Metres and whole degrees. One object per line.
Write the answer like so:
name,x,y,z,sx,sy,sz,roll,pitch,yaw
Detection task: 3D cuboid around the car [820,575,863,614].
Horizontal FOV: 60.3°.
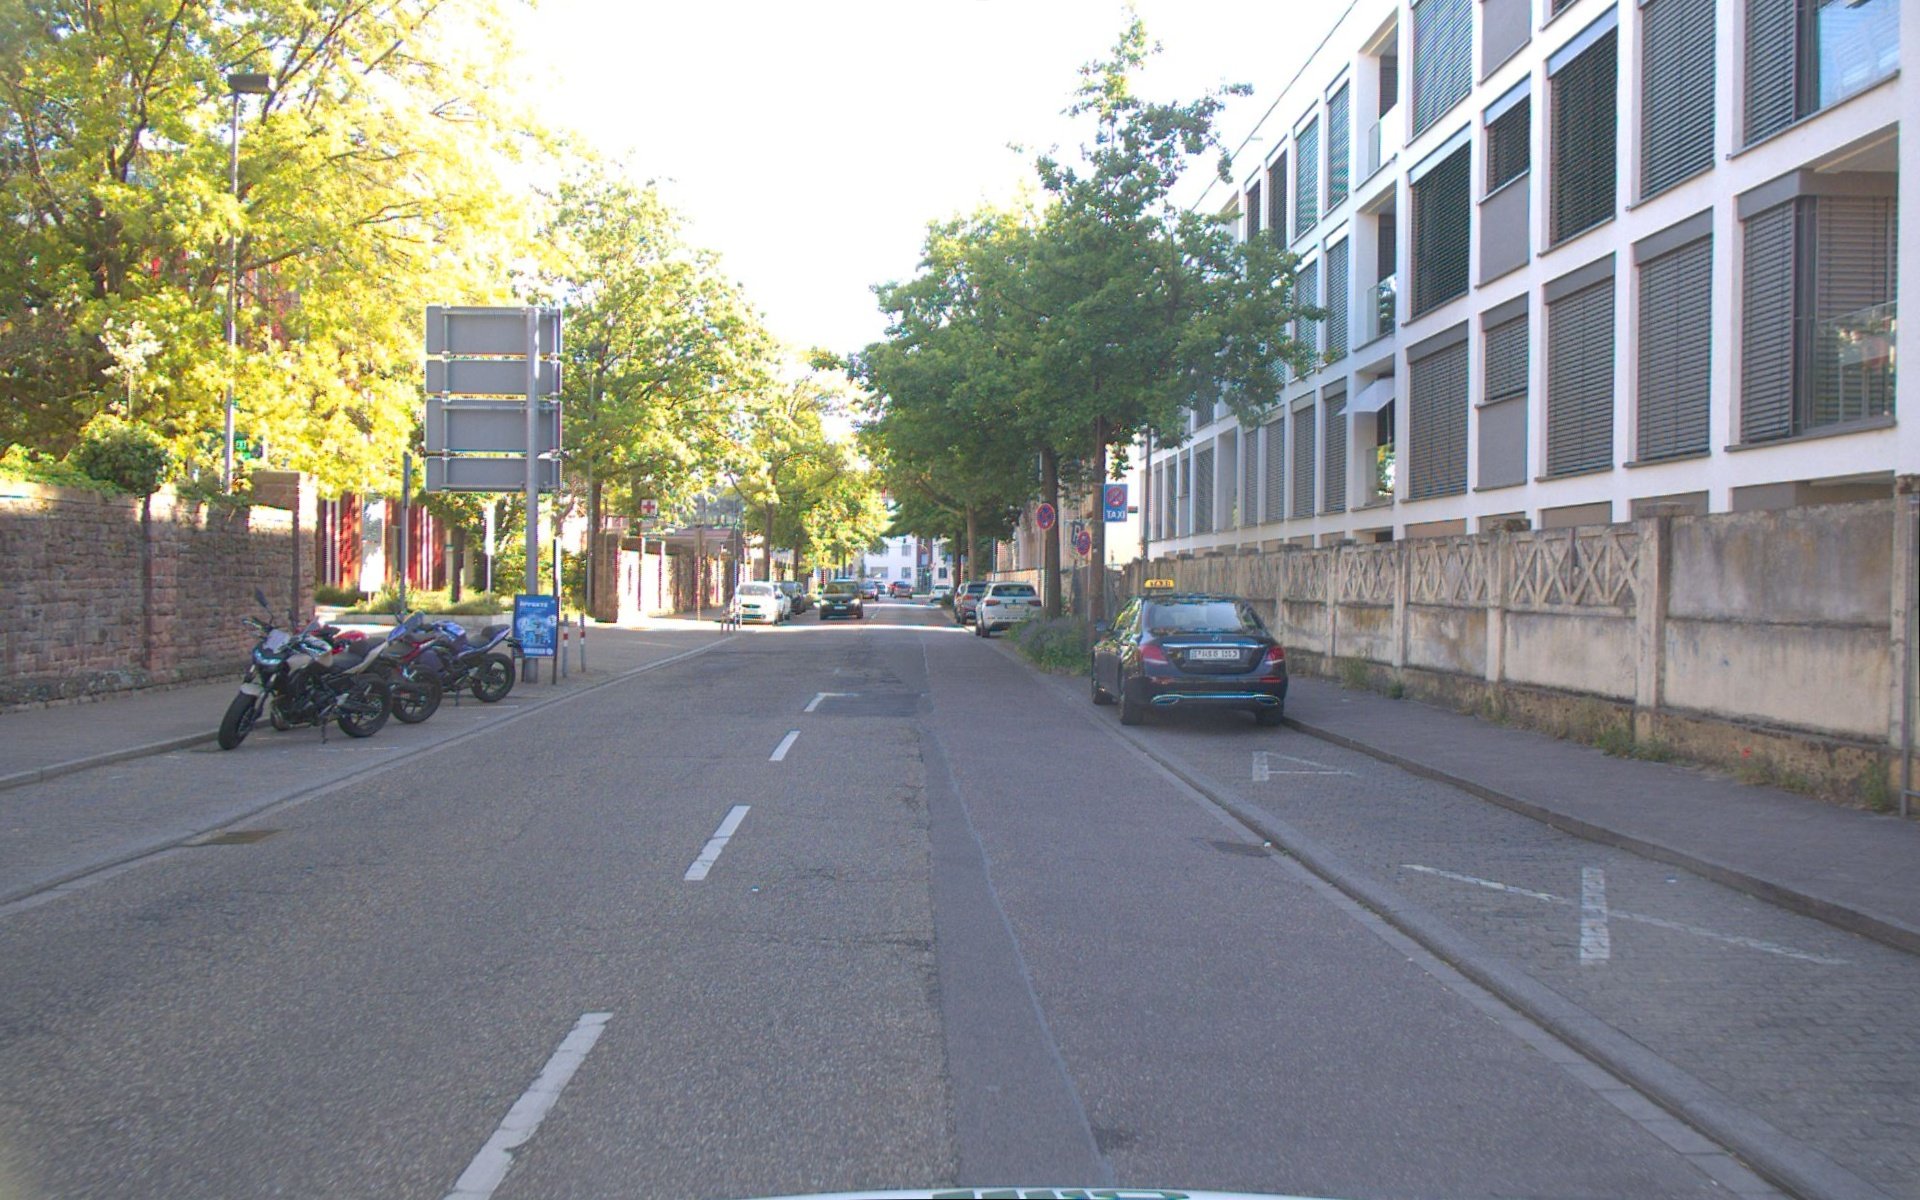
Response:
car,-4.915,-0.239,69.064,1.620,1.556,3.999,0,1,-2

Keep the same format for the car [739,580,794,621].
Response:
car,-7.683,0.001,65.932,1.868,1.556,3.999,0,1,-2

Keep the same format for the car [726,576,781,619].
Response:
car,-7.446,-0.106,59.931,1.732,1.513,3.998,0,1,-3

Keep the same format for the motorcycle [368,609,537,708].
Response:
motorcycle,-6.077,0.674,19.934,0.565,1.093,2.117,1,1,31

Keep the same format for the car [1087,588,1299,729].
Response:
car,2.618,0.600,19.476,1.732,1.465,3.998,0,1,-3

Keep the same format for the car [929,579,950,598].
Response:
car,-1.618,-0.881,129.163,1.553,1.424,3.835,1,1,-1

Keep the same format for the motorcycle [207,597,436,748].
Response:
motorcycle,-5.961,0.633,15.571,0.565,1.298,2.117,1,1,31

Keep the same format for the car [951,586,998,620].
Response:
car,0.635,0.113,73.549,1.953,1.450,3.835,1,1,-1

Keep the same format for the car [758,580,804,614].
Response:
car,-8.406,-0.161,78.081,1.868,1.556,3.999,0,1,-2

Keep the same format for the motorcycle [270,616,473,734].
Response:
motorcycle,-6.039,0.736,17.108,0.565,1.093,2.117,1,1,31

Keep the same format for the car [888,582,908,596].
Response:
car,-6.521,-1.165,174.483,1.954,1.478,3.996,0,1,-5

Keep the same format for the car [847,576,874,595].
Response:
car,-7.846,-1.170,131.154,1.953,1.478,4.000,0,1,-1

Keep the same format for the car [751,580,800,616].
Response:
car,-8.227,-0.108,73.945,1.868,1.556,3.999,0,1,-2

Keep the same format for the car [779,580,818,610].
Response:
car,-8.897,-0.304,91.131,1.869,1.556,3.999,1,1,-2

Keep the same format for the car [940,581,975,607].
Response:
car,-0.154,-0.376,94.861,1.953,1.450,3.835,1,1,-1

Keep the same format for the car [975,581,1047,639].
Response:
car,1.451,0.249,48.284,1.911,1.605,3.835,1,1,-1

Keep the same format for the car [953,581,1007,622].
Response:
car,0.757,0.033,64.177,1.953,1.491,3.835,1,1,-1

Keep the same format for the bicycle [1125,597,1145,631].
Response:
bicycle,4.511,0.349,42.719,0.349,0.856,1.324,0,1,-1

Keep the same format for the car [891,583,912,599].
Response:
car,-5.292,-0.863,150.738,1.851,1.424,3.835,1,1,-1
